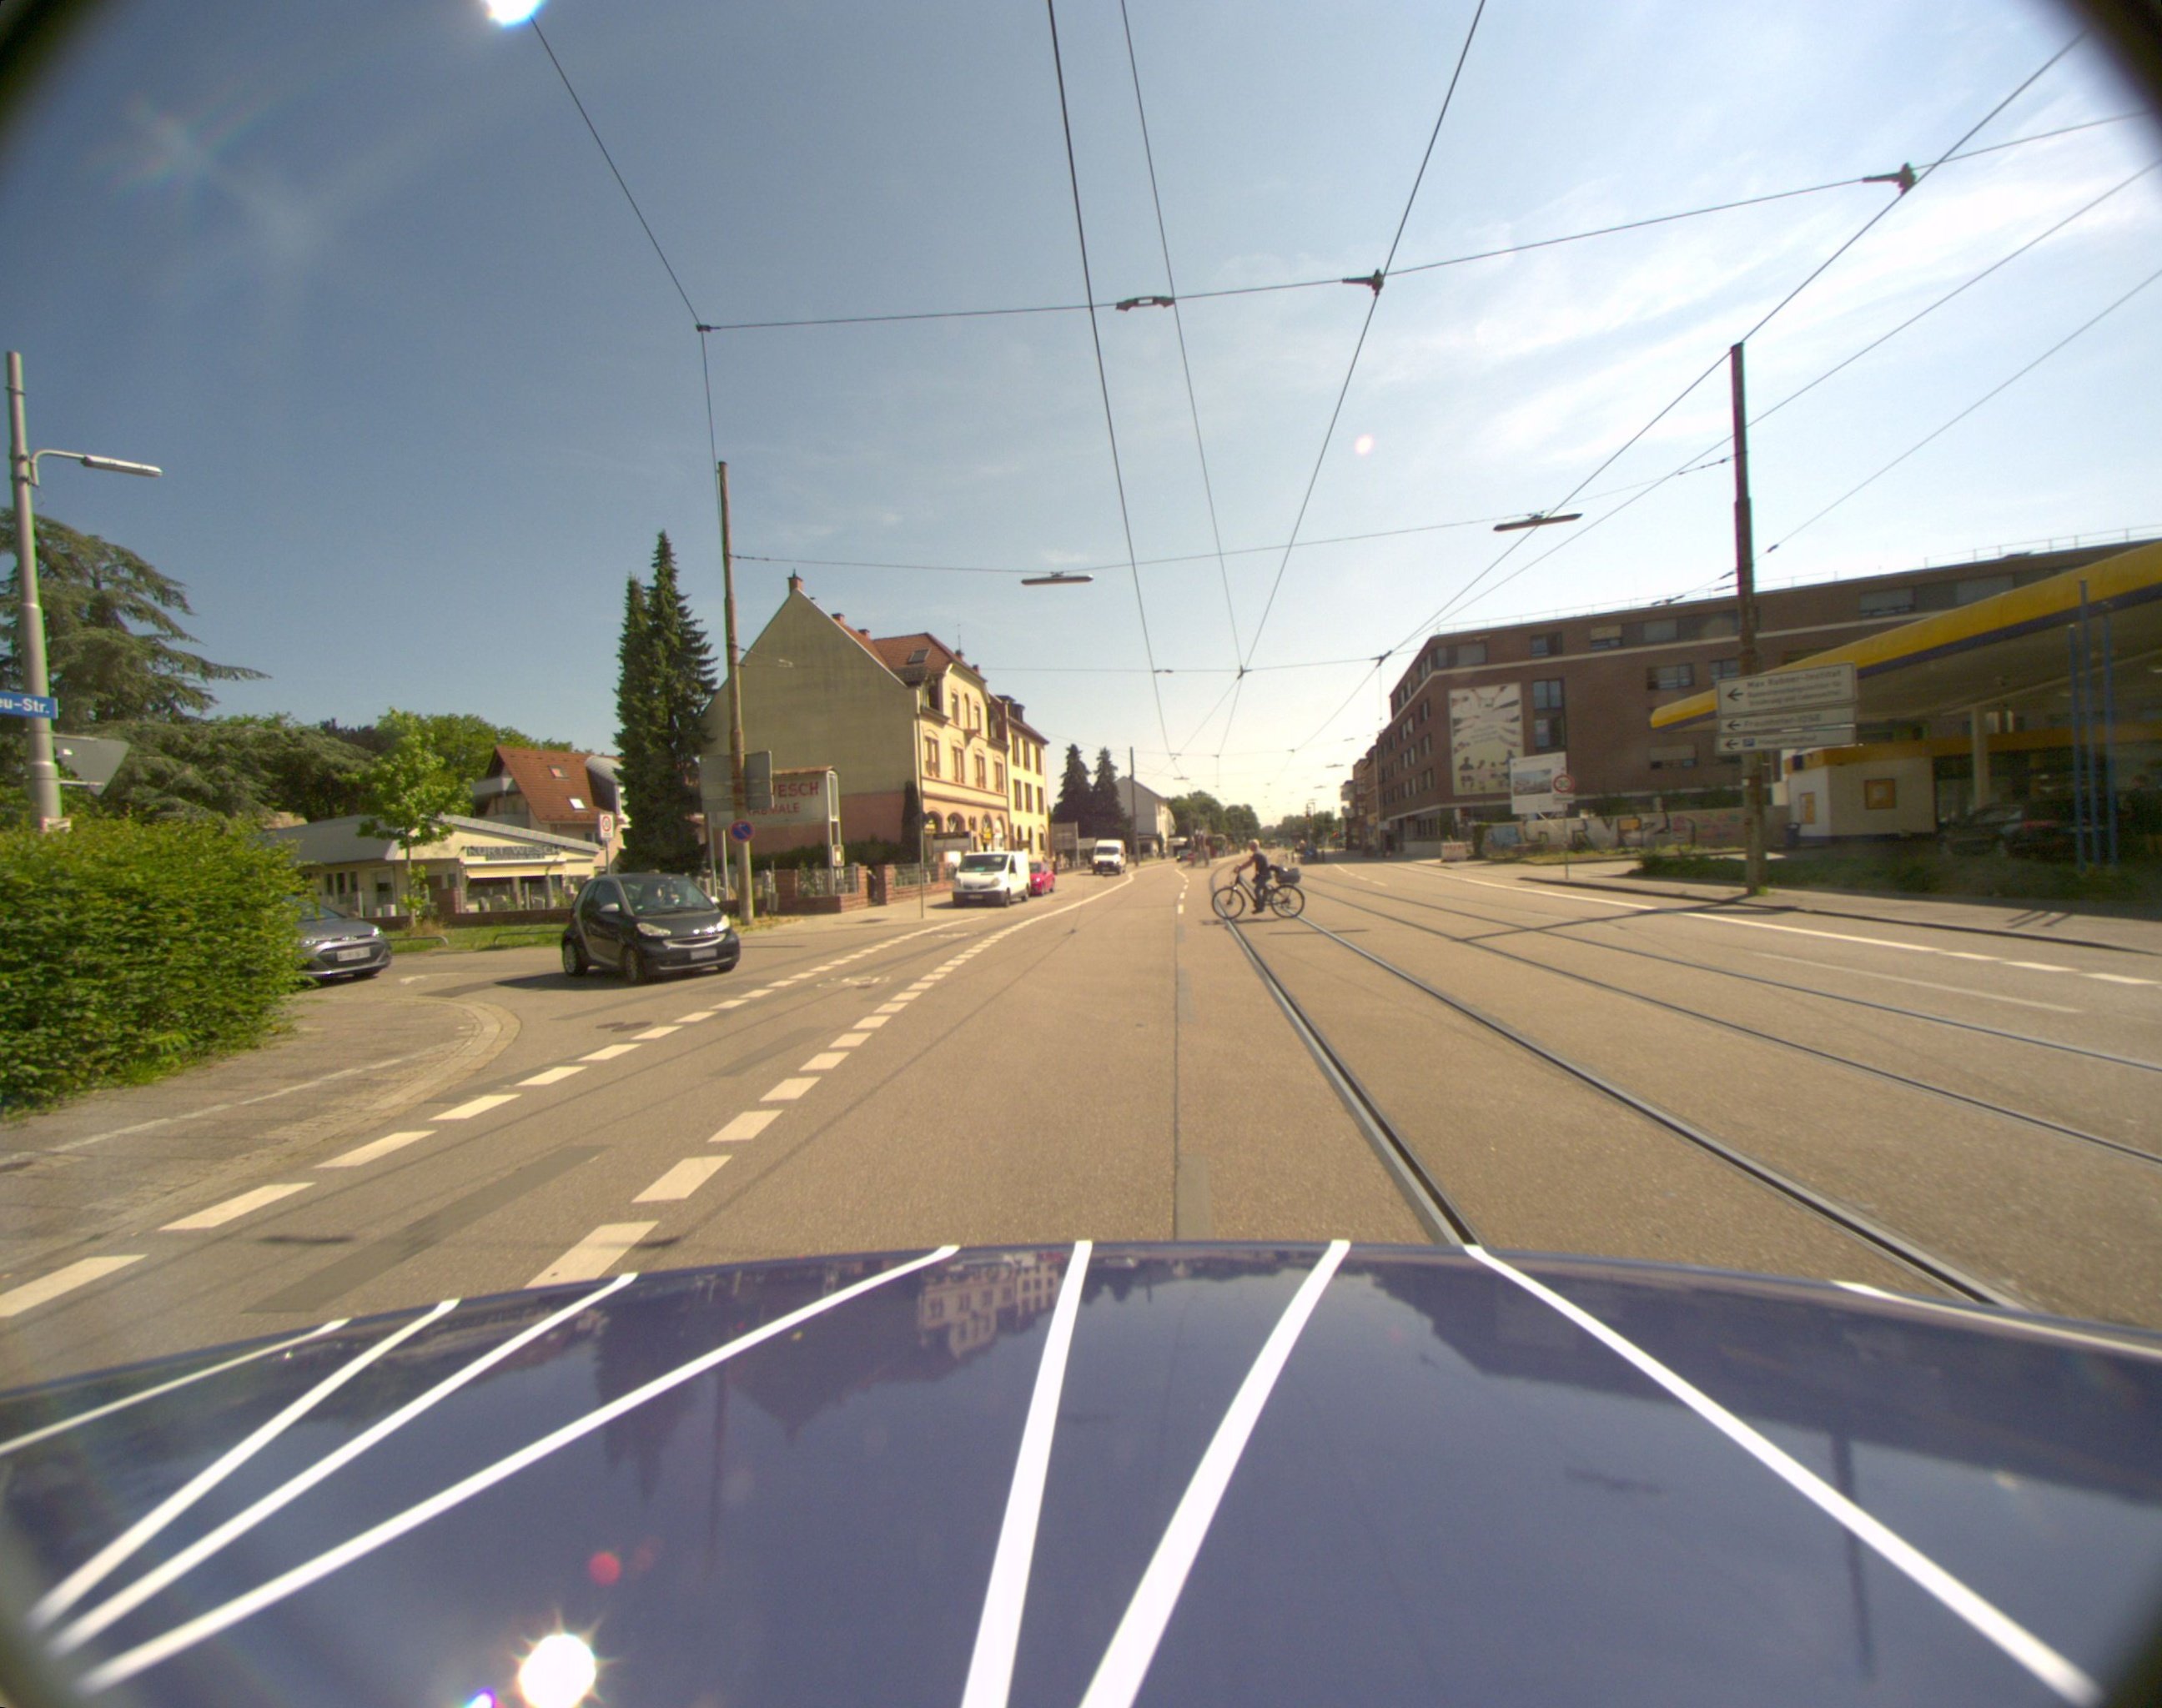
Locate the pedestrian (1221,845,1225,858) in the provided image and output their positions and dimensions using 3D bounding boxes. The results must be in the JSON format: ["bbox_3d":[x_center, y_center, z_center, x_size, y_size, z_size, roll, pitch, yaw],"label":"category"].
[{"bbox_3d":[18.560,-0.285,99.266,0.416,1.680,0.707,-3,1,1],"label":"pedestrian"}]

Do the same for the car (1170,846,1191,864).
[{"bbox_3d":[12.037,0.054,91.738,1.997,2.002,4.003,-3,0,13],"label":"car"}]

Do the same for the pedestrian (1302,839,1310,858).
[{"bbox_3d":[20.738,-0.492,69.978,0.557,1.750,0.794,-3,1,9],"label":"pedestrian"}]

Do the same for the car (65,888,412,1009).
[{"bbox_3d":[-12.985,1.419,11.847,3.692,1.518,1.706,-3,0,6],"label":"car"}]

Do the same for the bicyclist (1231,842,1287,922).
[{"bbox_3d":[3.723,0.566,15.865,0.962,1.586,0.907,-3,1,20],"label":"bicyclist"}]

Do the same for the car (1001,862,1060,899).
[{"bbox_3d":[-2.169,1.142,33.680,1.723,1.398,4.003,-3,0,8],"label":"car"}]

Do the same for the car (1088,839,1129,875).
[{"bbox_3d":[2.151,0.163,57.350,2.334,2.521,6.510,-1,1,9],"label":"car"}]

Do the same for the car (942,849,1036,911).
[{"bbox_3d":[-3.204,0.871,27.629,2.087,2.002,4.911,-2,0,9],"label":"car"}]

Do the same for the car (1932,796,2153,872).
[{"bbox_3d":[22.766,-0.445,18.261,1.757,1.446,4.418,-7,-2,31],"label":"car"}]

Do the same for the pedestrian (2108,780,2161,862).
[{"bbox_3d":[23.165,-0.716,16.404,0.857,1.715,0.745,-3,1,10],"label":"pedestrian"}]

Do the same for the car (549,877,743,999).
[{"bbox_3d":[-6.631,1.171,11.506,2.968,1.530,1.482,-2,1,38],"label":"car"}]

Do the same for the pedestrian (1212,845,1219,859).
[{"bbox_3d":[15.741,-0.227,88.681,0.707,1.680,0.416,-3,1,7],"label":"pedestrian"}]

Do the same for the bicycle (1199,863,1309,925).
[{"bbox_3d":[3.620,0.850,15.890,2.118,1.190,0.613,-3,1,21],"label":"bicycle"}]
